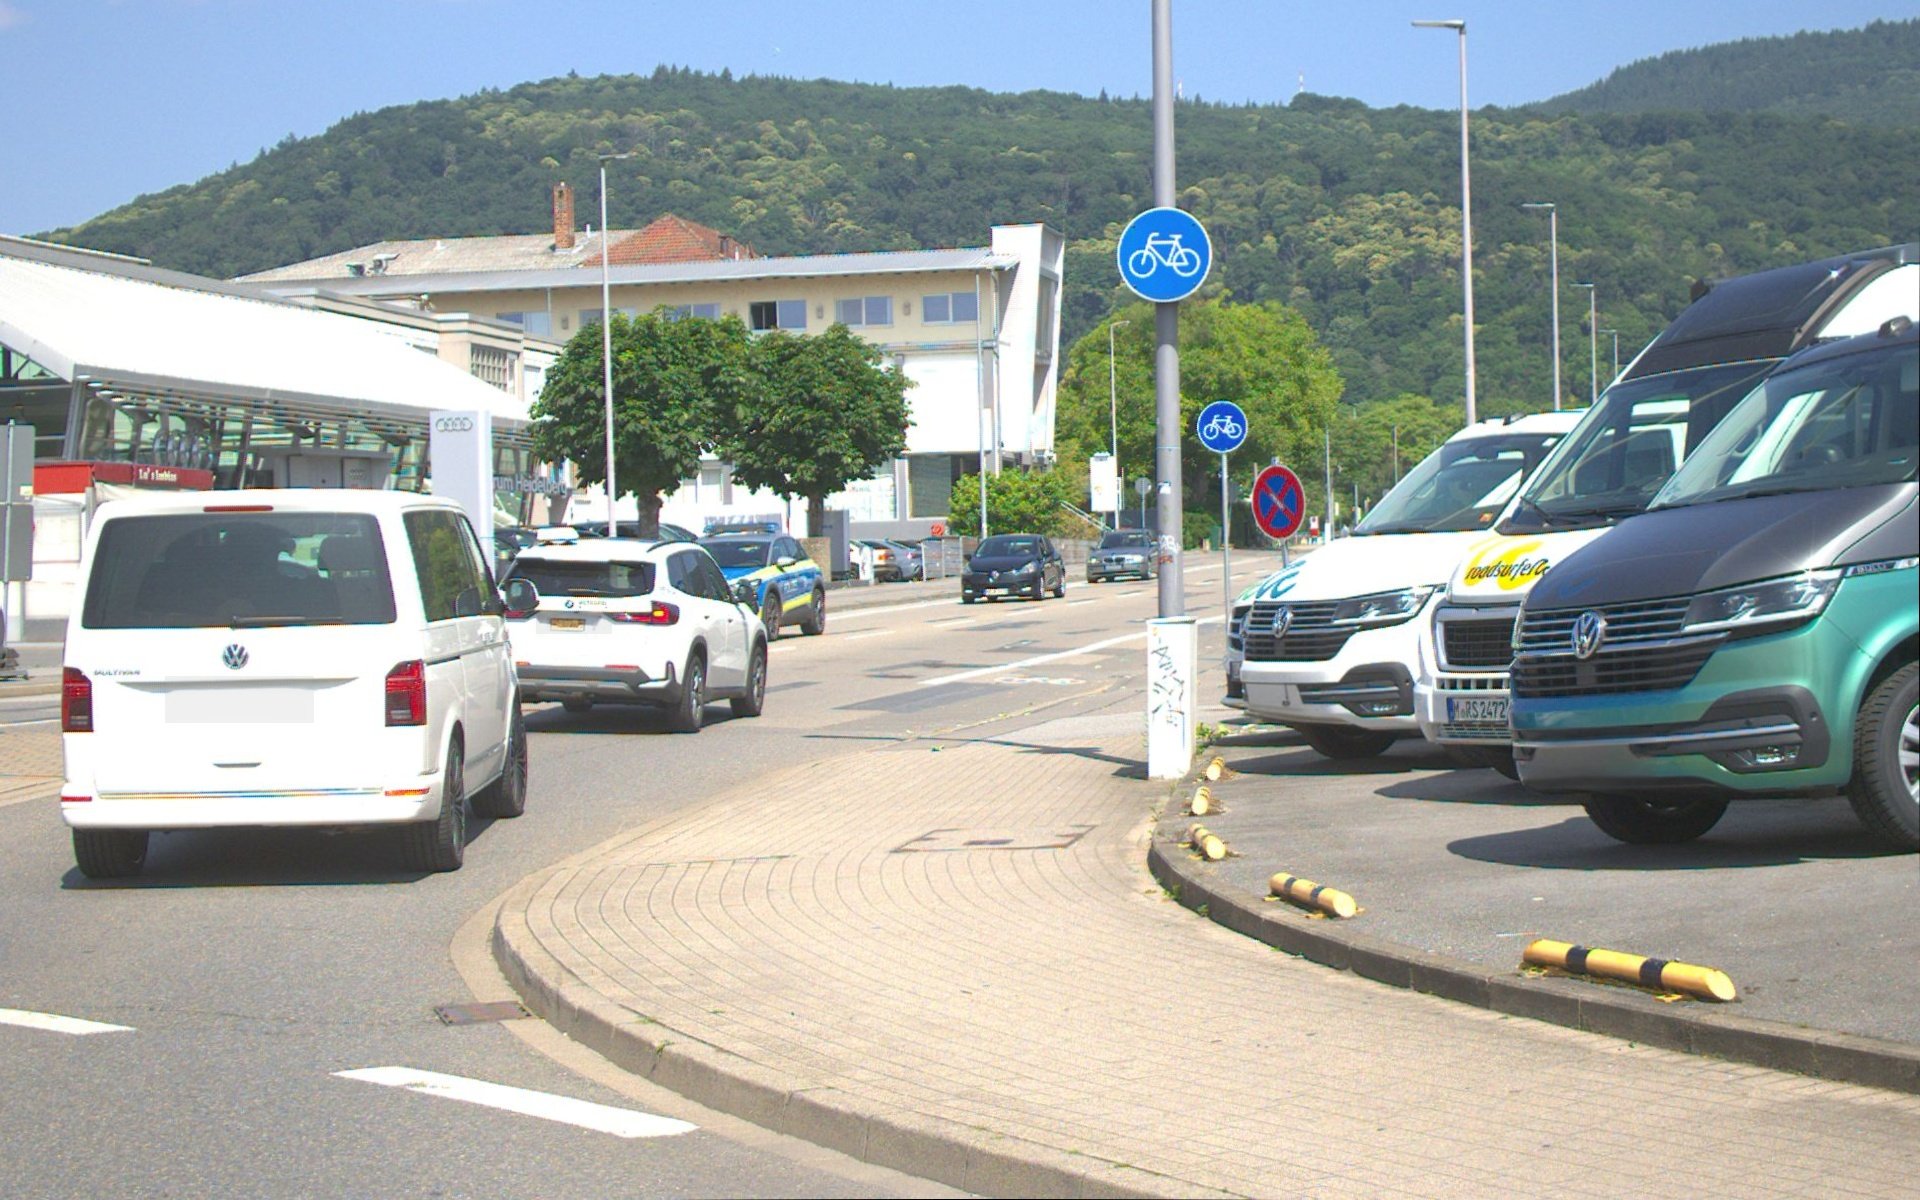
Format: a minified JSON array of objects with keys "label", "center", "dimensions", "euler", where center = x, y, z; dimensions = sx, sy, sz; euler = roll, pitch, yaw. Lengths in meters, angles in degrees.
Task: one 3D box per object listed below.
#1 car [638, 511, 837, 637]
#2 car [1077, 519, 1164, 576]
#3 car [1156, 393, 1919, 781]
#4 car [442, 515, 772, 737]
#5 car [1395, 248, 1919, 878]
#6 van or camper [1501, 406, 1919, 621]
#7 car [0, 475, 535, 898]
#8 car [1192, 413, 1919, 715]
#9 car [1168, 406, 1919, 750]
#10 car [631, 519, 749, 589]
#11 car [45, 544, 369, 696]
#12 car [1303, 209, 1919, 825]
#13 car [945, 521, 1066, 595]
[{"label":"car","center":[-3.304,-0.428,51.865],"dimensions":[1.909,1.754,4.450],"euler":[-1,1,11]},{"label":"car","center":[4.442,-1.457,94.719],"dimensions":[1.842,1.459,3.998],"euler":[-1,1,11]},{"label":"car","center":[3.936,-0.131,20.045],"dimensions":[5.142,1.993,2.025],"euler":[-2,1,-21]},{"label":"car","center":[-2.980,0.160,29.912],"dimensions":[1.994,1.701,3.999],"euler":[2,2,7]},{"label":"car","center":[4.516,-0.221,13.552],"dimensions":[5.210,2.106,2.097],"euler":[-2,1,-25]},{"label":"van or camper","center":[10.334,-1.097,43.855],"dimensions":[6.508,2.552,2.972],"euler":[-1,1,14]},{"label":"car","center":[-3.620,0.325,18.855],"dimensions":[2.162,2.006,5.019],"euler":[0,2,-2]},{"label":"car","center":[4.551,-0.280,25.930],"dimensions":[5.140,2.087,2.050],"euler":[-1,-1,-17]},{"label":"car","center":[4.174,-0.198,23.043],"dimensions":[5.132,2.007,1.931],"euler":[-3,1,-17]},{"label":"car","center":[-6.391,-1.087,81.064],"dimensions":[1.745,1.579,3.662],"euler":[-2,1,-21]},{"label":"car","center":[-7.772,0.200,35.877],"dimensions":[1.842,1.459,4.141],"euler":[-1,0,10]},{"label":"car","center":[5.024,-0.485,17.383],"dimensions":[6.136,2.707,2.307],"euler":[-2,1,-24]},{"label":"car","center":[1.011,-0.923,73.956],"dimensions":[1.842,1.459,3.998],"euler":[-1,1,12]}]
